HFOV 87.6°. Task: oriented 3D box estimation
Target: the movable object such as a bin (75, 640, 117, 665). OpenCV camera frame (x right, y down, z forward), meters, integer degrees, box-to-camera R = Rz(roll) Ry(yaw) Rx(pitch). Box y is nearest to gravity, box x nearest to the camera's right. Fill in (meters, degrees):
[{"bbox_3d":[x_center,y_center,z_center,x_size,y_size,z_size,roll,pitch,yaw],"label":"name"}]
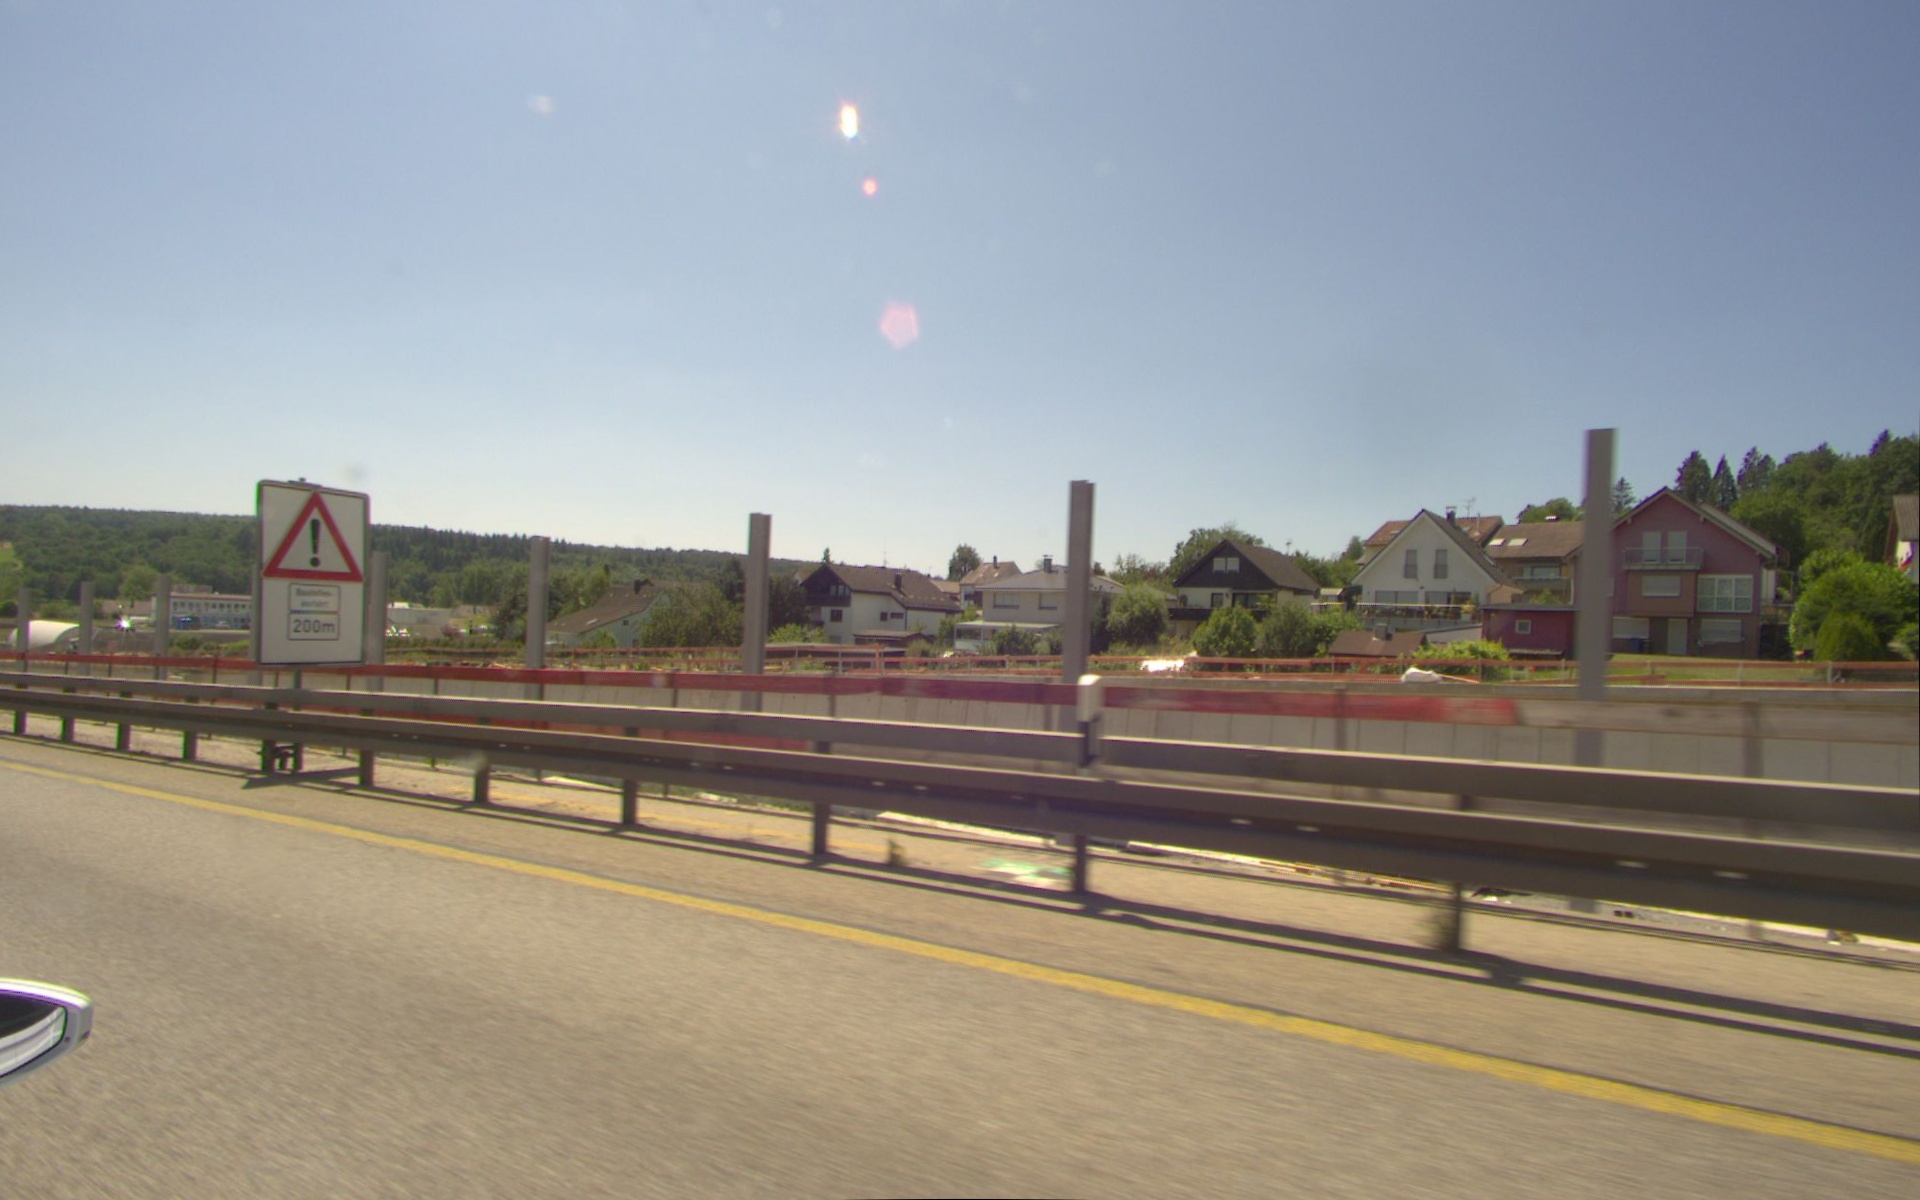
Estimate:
[{"bbox_3d":[-82.140,4.970,95.191,4.094,2.267,1.990,-1,-2,33],"label":"movable object such as a bin"}]
